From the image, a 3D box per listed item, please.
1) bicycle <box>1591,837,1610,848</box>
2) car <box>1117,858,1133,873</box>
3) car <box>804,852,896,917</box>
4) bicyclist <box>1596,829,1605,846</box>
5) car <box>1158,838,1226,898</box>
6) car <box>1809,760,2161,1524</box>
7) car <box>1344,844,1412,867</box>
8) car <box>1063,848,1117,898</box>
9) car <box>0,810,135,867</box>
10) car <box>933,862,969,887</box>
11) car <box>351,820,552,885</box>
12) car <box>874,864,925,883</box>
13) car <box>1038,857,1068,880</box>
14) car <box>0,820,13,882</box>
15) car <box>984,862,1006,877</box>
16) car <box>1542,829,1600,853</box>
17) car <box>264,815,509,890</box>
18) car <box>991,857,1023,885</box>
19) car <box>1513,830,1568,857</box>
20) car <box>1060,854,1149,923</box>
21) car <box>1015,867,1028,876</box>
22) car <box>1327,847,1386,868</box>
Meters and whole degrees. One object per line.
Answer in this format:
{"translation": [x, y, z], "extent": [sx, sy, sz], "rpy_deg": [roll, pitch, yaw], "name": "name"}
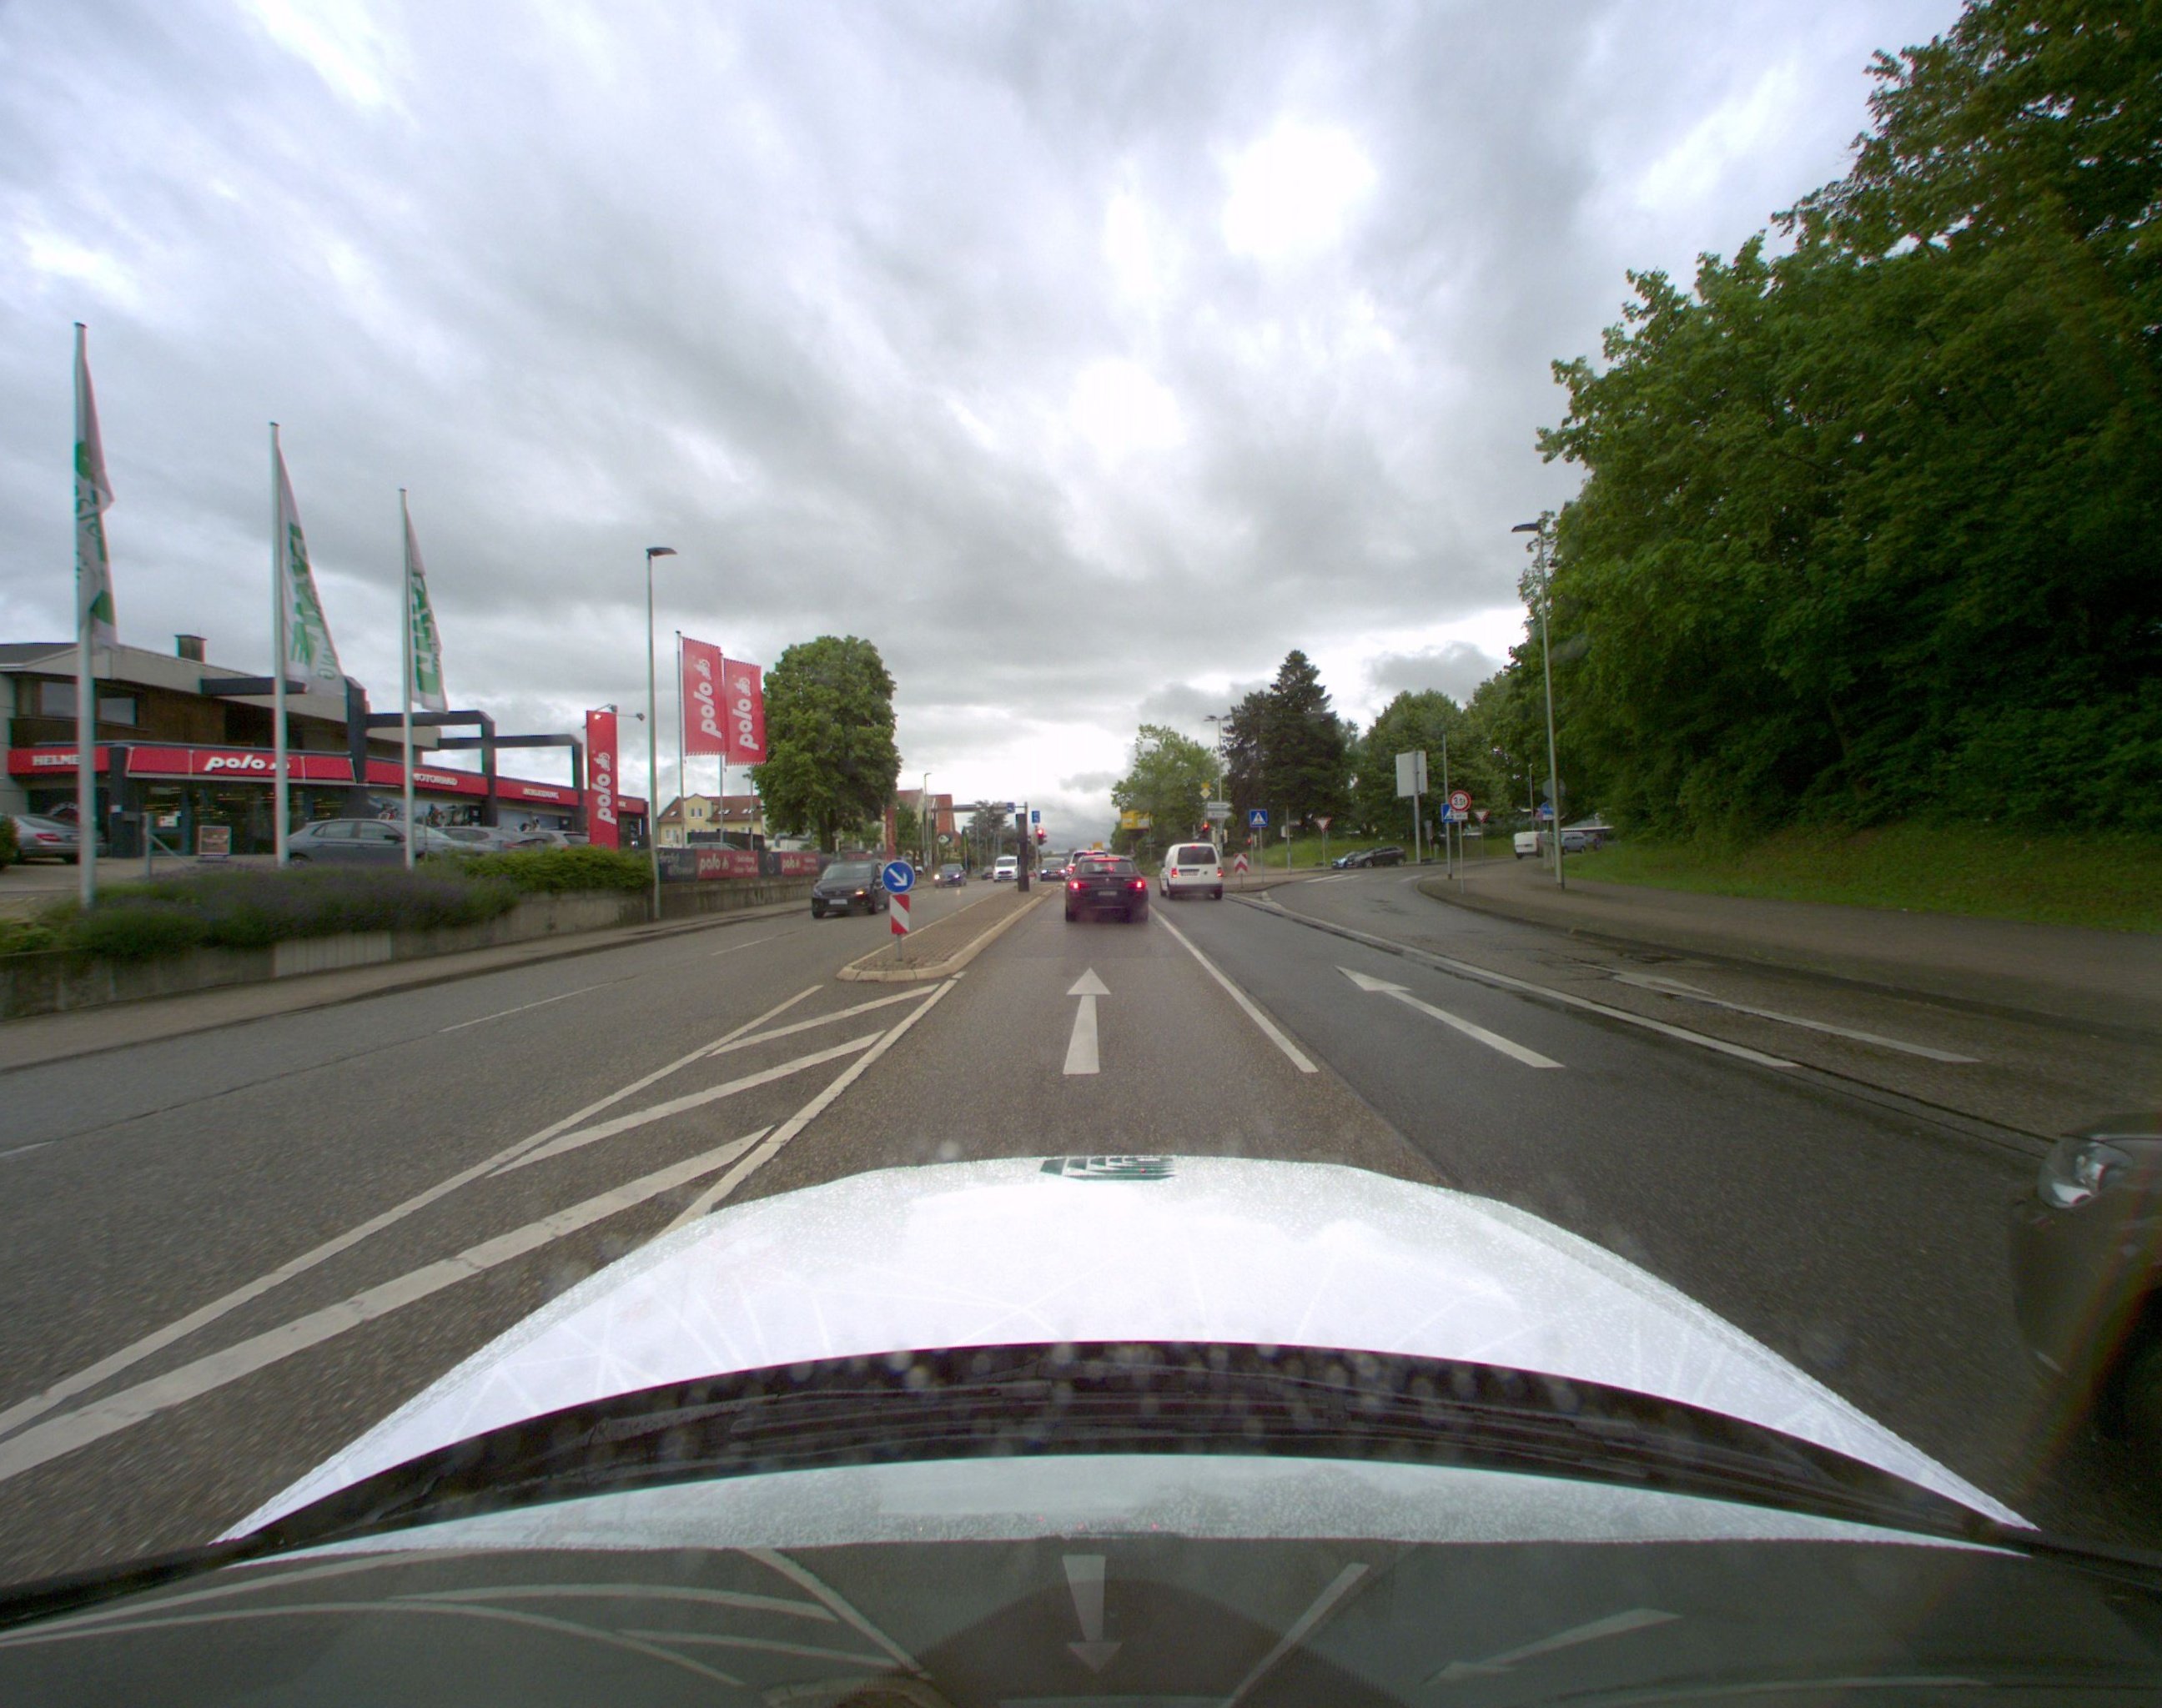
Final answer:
{"translation": [46.647, -1.034, 73.095], "extent": [1.754, 0.953, 0.574], "rpy_deg": [-2, 0, -27], "name": "bicycle"}
{"translation": [4.509, 1.178, 83.701], "extent": [1.594, 1.371, 3.683], "rpy_deg": [-2, 1, 3], "name": "car"}
{"translation": [-6.774, 0.834, 24.314], "extent": [1.753, 1.677, 4.142], "rpy_deg": [-3, 0, -4], "name": "car"}
{"translation": [46.634, -1.483, 73.106], "extent": [0.563, 1.489, 0.451], "rpy_deg": [-2, 0, -27], "name": "bicyclist"}
{"translation": [3.671, 0.433, 27.448], "extent": [1.736, 1.869, 3.945], "rpy_deg": [-1, 0, 0], "name": "car"}
{"translation": [3.101, 0.608, 0.457], "extent": [1.708, 1.596, 4.130], "rpy_deg": [-1, 1, 0], "name": "car"}
{"translation": [21.216, 0.080, 58.159], "extent": [4.328, 1.467, 1.889], "rpy_deg": [-2, 0, -18], "name": "car"}
{"translation": [0.383, 0.642, 29.874], "extent": [1.720, 1.711, 3.386], "rpy_deg": [-1, 0, 4], "name": "car"}
{"translation": [-30.731, -0.417, 23.851], "extent": [3.972, 1.512, 1.876], "rpy_deg": [-2, 0, 3], "name": "car"}
{"translation": [-8.259, 1.272, 51.938], "extent": [1.629, 1.381, 3.764], "rpy_deg": [-4, 0, 0], "name": "car"}
{"translation": [-16.020, -0.053, 20.901], "extent": [3.643, 1.482, 1.738], "rpy_deg": [-2, 0, -7], "name": "car"}
{"translation": [-16.589, 1.761, 74.424], "extent": [4.216, 1.456, 1.785], "rpy_deg": [-2, 0, -27], "name": "car"}
{"translation": [-1.909, 0.955, 55.181], "extent": [1.890, 1.456, 4.093], "rpy_deg": [-2, -1, -2], "name": "car"}
{"translation": [-27.667, -0.015, 18.589], "extent": [3.819, 1.482, 1.872], "rpy_deg": [-2, 0, -4], "name": "car"}
{"translation": [-8.366, 1.501, 79.626], "extent": [1.662, 1.382, 4.072], "rpy_deg": [-2, 0, 0], "name": "car"}
{"translation": [40.554, -1.113, 67.397], "extent": [4.752, 1.851, 1.885], "rpy_deg": [-2, 1, -26], "name": "car"}
{"translation": [-15.481, -0.037, 18.342], "extent": [3.822, 1.482, 1.738], "rpy_deg": [-2, 0, -7], "name": "car"}
{"translation": [-5.340, 1.179, 59.084], "extent": [1.852, 1.823, 4.577], "rpy_deg": [-4, 0, -1], "name": "car"}
{"translation": [32.242, -0.750, 57.110], "extent": [3.963, 1.708, 1.800], "rpy_deg": [-3, 1, -36], "name": "car"}
{"translation": [0.614, 0.723, 19.024], "extent": [1.847, 1.419, 3.960], "rpy_deg": [-1, 0, 3], "name": "car"}
{"translation": [-8.956, 2.642, 123.364], "extent": [1.662, 1.354, 3.442], "rpy_deg": [-2, 0, 0], "name": "car"}
{"translation": [20.769, 0.258, 61.359], "extent": [3.997, 1.294, 1.599], "rpy_deg": [-3, 1, -18], "name": "car"}
